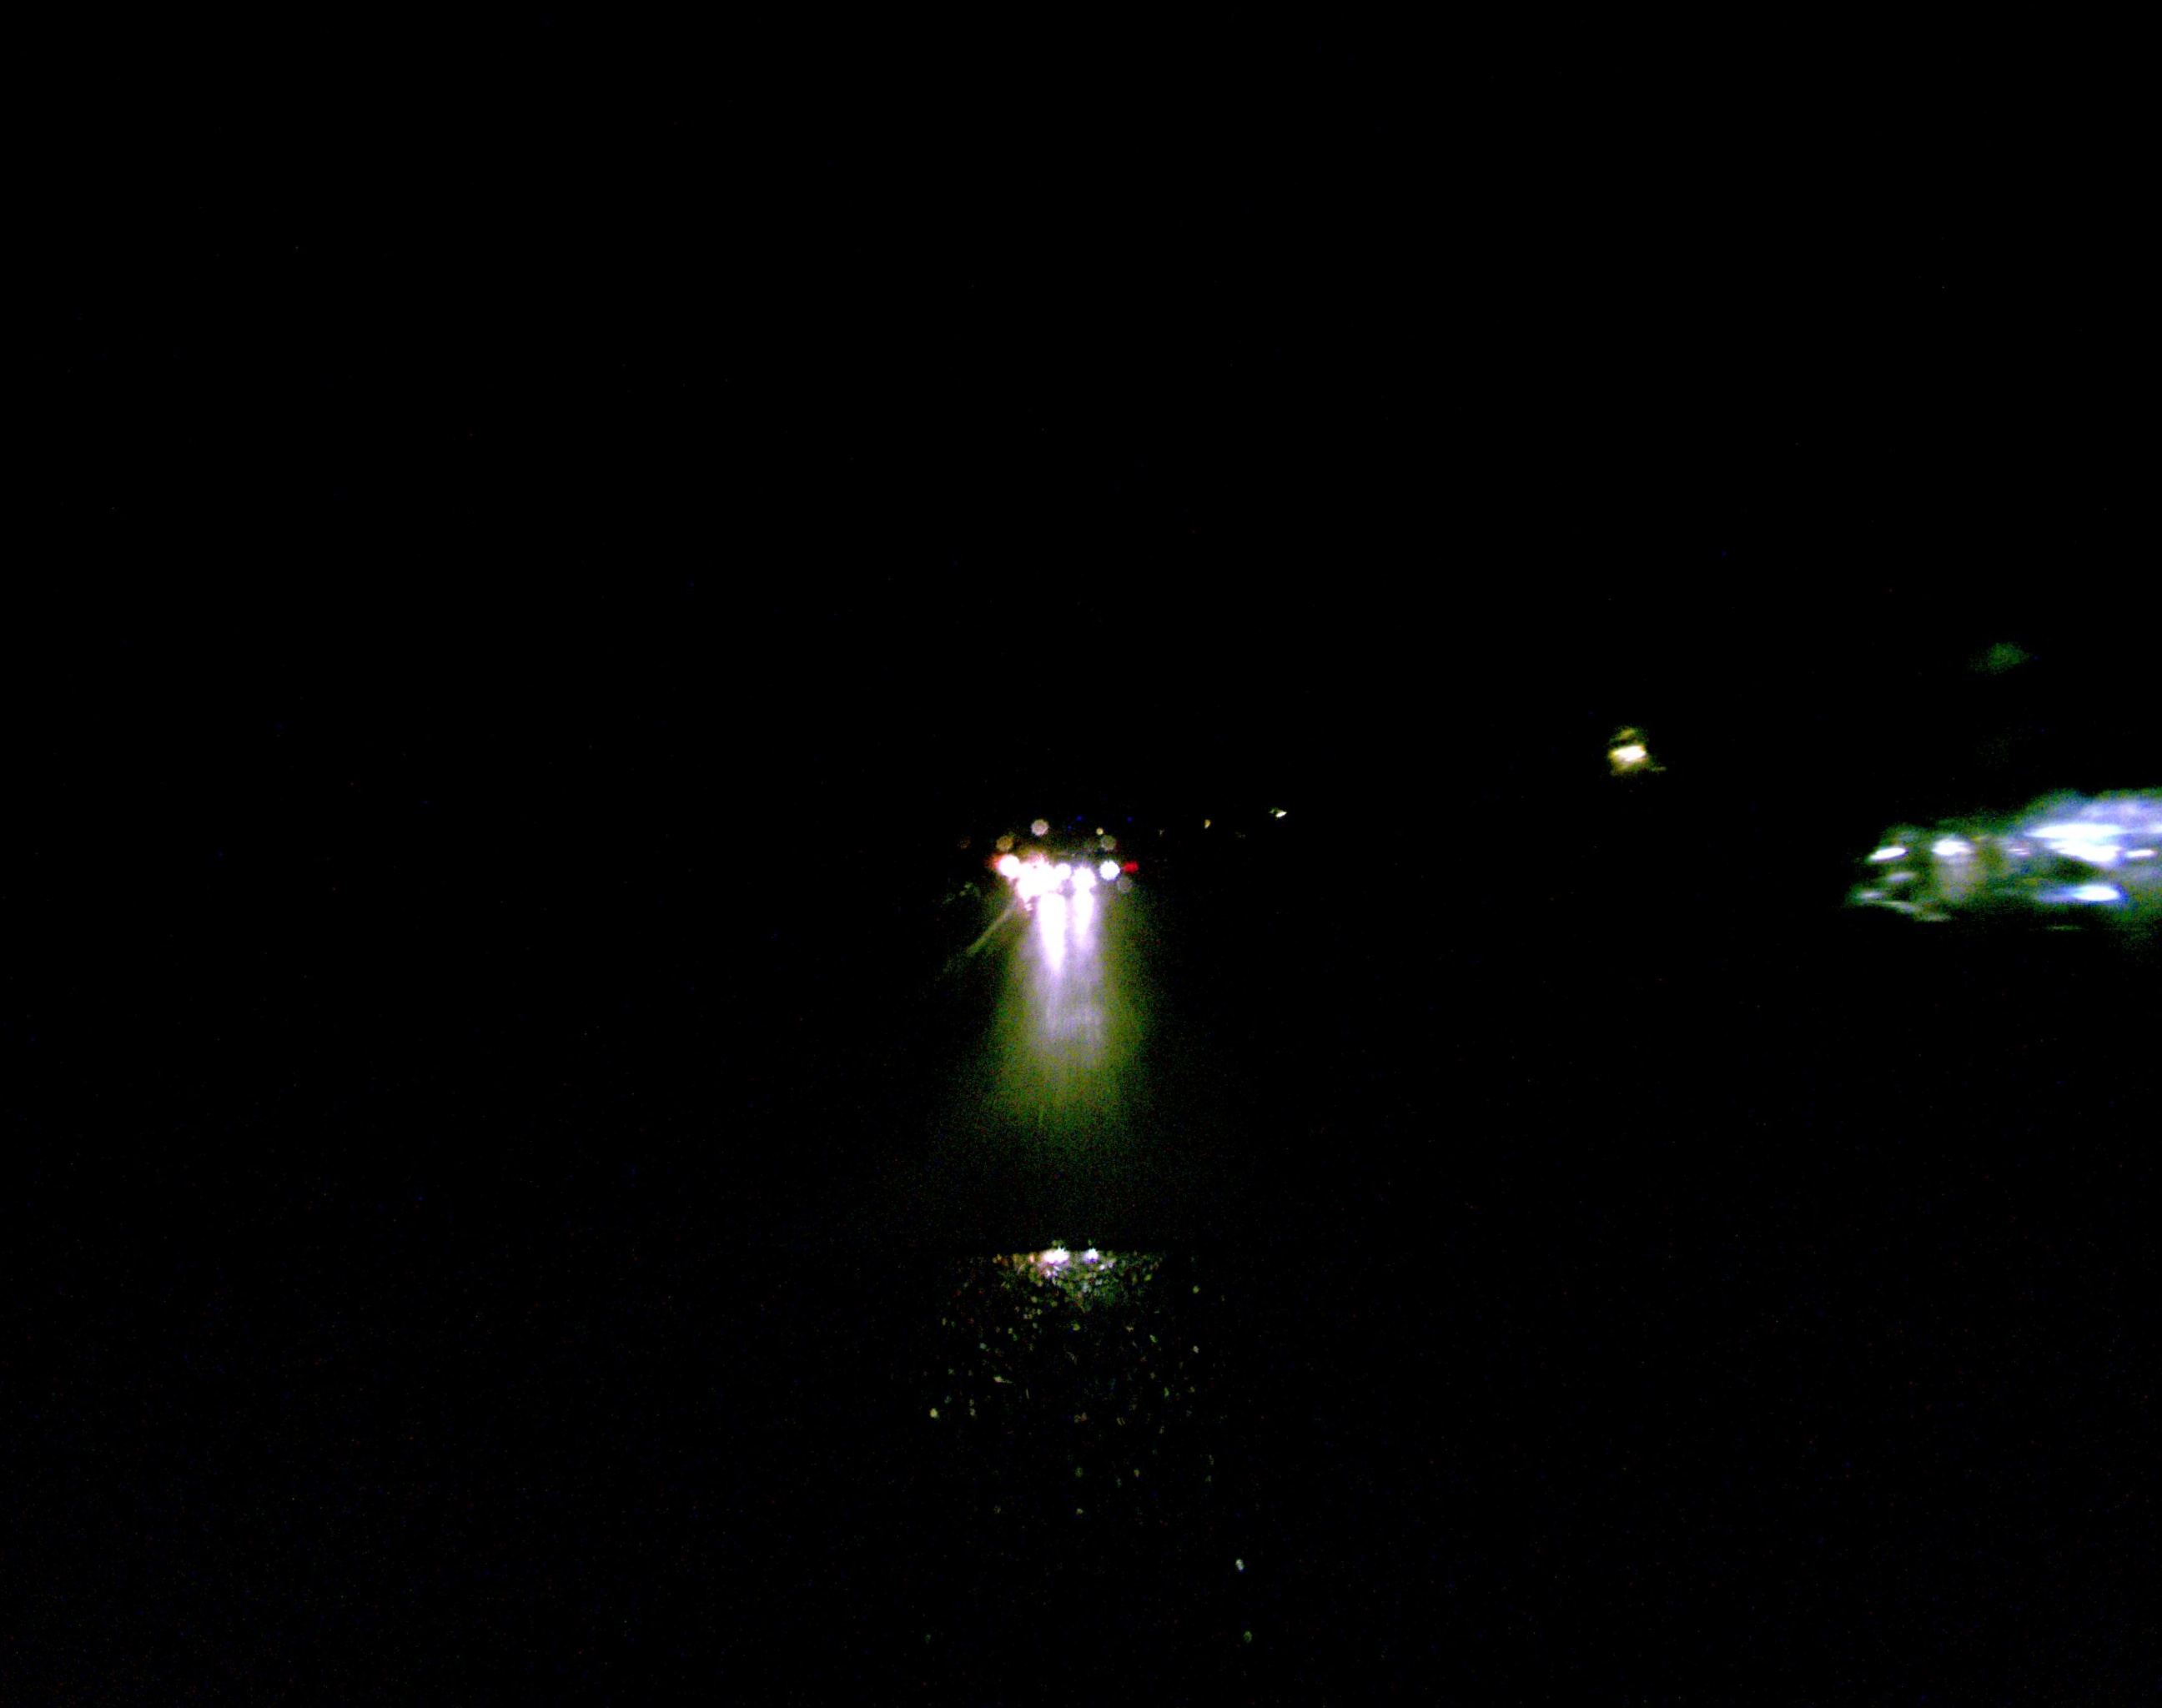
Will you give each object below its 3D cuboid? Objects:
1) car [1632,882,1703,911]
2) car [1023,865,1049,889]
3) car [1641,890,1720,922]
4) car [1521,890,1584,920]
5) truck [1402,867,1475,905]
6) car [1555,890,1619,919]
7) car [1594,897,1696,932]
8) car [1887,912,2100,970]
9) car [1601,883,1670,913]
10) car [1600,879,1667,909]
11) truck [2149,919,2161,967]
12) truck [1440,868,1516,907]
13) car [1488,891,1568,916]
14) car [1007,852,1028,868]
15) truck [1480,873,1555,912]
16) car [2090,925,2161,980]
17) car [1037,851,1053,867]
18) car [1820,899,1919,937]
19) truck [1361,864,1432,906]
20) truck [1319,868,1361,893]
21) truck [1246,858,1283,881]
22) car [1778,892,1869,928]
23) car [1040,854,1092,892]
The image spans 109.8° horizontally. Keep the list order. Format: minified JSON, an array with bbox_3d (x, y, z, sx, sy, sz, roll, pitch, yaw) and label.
[{"bbox_3d":[44.675,3.209,57.989,1.740,2.002,3.994,-2,0,-16],"label":"car"},{"bbox_3d":[-4.162,2.065,70.418,1.900,2.002,3.996,-2,1,-10],"label":"car"},{"bbox_3d":[36.337,3.143,46.087,4.004,1.630,1.996,-2,0,-22],"label":"car"},{"bbox_3d":[34.411,3.686,55.513,1.723,1.895,3.718,-2,0,-15],"label":"car"},{"bbox_3d":[34.378,2.997,73.385,2.444,3.080,7.042,4,0,-12],"label":"truck"},{"bbox_3d":[37.569,3.701,56.541,1.723,1.895,3.718,-2,0,-15],"label":"car"},{"bbox_3d":[29.711,3.163,40.080,4.000,1.446,1.910,4,1,-7],"label":"car"},{"bbox_3d":[34.887,3.267,29.257,2.003,1.558,4.842,3,0,-26],"label":"car"},{"bbox_3d":[41.946,3.323,57.587,1.740,2.002,3.994,-2,0,-16],"label":"car"},{"bbox_3d":[35.369,2.511,48.635,4.006,1.630,1.995,-2,0,-31],"label":"car"},{"bbox_3d":[49.004,4.025,31.760,2.091,2.106,4.490,4,0,-11],"label":"truck"},{"bbox_3d":[38.831,3.175,74.608,2.444,3.241,7.042,4,0,-12],"label":"truck"},{"bbox_3d":[28.180,3.136,47.951,4.000,1.194,1.845,4,1,-7],"label":"car"},{"bbox_3d":[-7.311,0.705,87.293,1.710,1.762,3.995,-2,1,-14],"label":"car"},{"bbox_3d":[43.142,3.758,75.323,2.444,3.241,6.558,4,1,-12],"label":"truck"},{"bbox_3d":[35.475,3.260,23.966,1.821,1.558,4.194,3,0,-41],"label":"car"},{"bbox_3d":[-4.768,0.595,100.950,1.897,1.991,4.878,-3,0,-5],"label":"car"},{"bbox_3d":[47.333,3.855,45.657,4.000,1.845,1.998,4,1,-7],"label":"car"},{"bbox_3d":[29.868,2.819,72.244,2.475,3.460,7.043,4,0,-11],"label":"truck"},{"bbox_3d":[31.314,3.162,92.207,2.174,2.504,6.867,4,0,-4],"label":"truck"},{"bbox_3d":[21.991,1.810,91.280,2.174,2.504,6.867,4,0,-4],"label":"truck"},{"bbox_3d":[46.949,3.519,48.074,4.000,1.845,1.930,4,1,-7],"label":"car"},{"bbox_3d":[-0.789,0.852,35.928,2.000,1.585,4.605,-1,1,-7],"label":"car"}]
